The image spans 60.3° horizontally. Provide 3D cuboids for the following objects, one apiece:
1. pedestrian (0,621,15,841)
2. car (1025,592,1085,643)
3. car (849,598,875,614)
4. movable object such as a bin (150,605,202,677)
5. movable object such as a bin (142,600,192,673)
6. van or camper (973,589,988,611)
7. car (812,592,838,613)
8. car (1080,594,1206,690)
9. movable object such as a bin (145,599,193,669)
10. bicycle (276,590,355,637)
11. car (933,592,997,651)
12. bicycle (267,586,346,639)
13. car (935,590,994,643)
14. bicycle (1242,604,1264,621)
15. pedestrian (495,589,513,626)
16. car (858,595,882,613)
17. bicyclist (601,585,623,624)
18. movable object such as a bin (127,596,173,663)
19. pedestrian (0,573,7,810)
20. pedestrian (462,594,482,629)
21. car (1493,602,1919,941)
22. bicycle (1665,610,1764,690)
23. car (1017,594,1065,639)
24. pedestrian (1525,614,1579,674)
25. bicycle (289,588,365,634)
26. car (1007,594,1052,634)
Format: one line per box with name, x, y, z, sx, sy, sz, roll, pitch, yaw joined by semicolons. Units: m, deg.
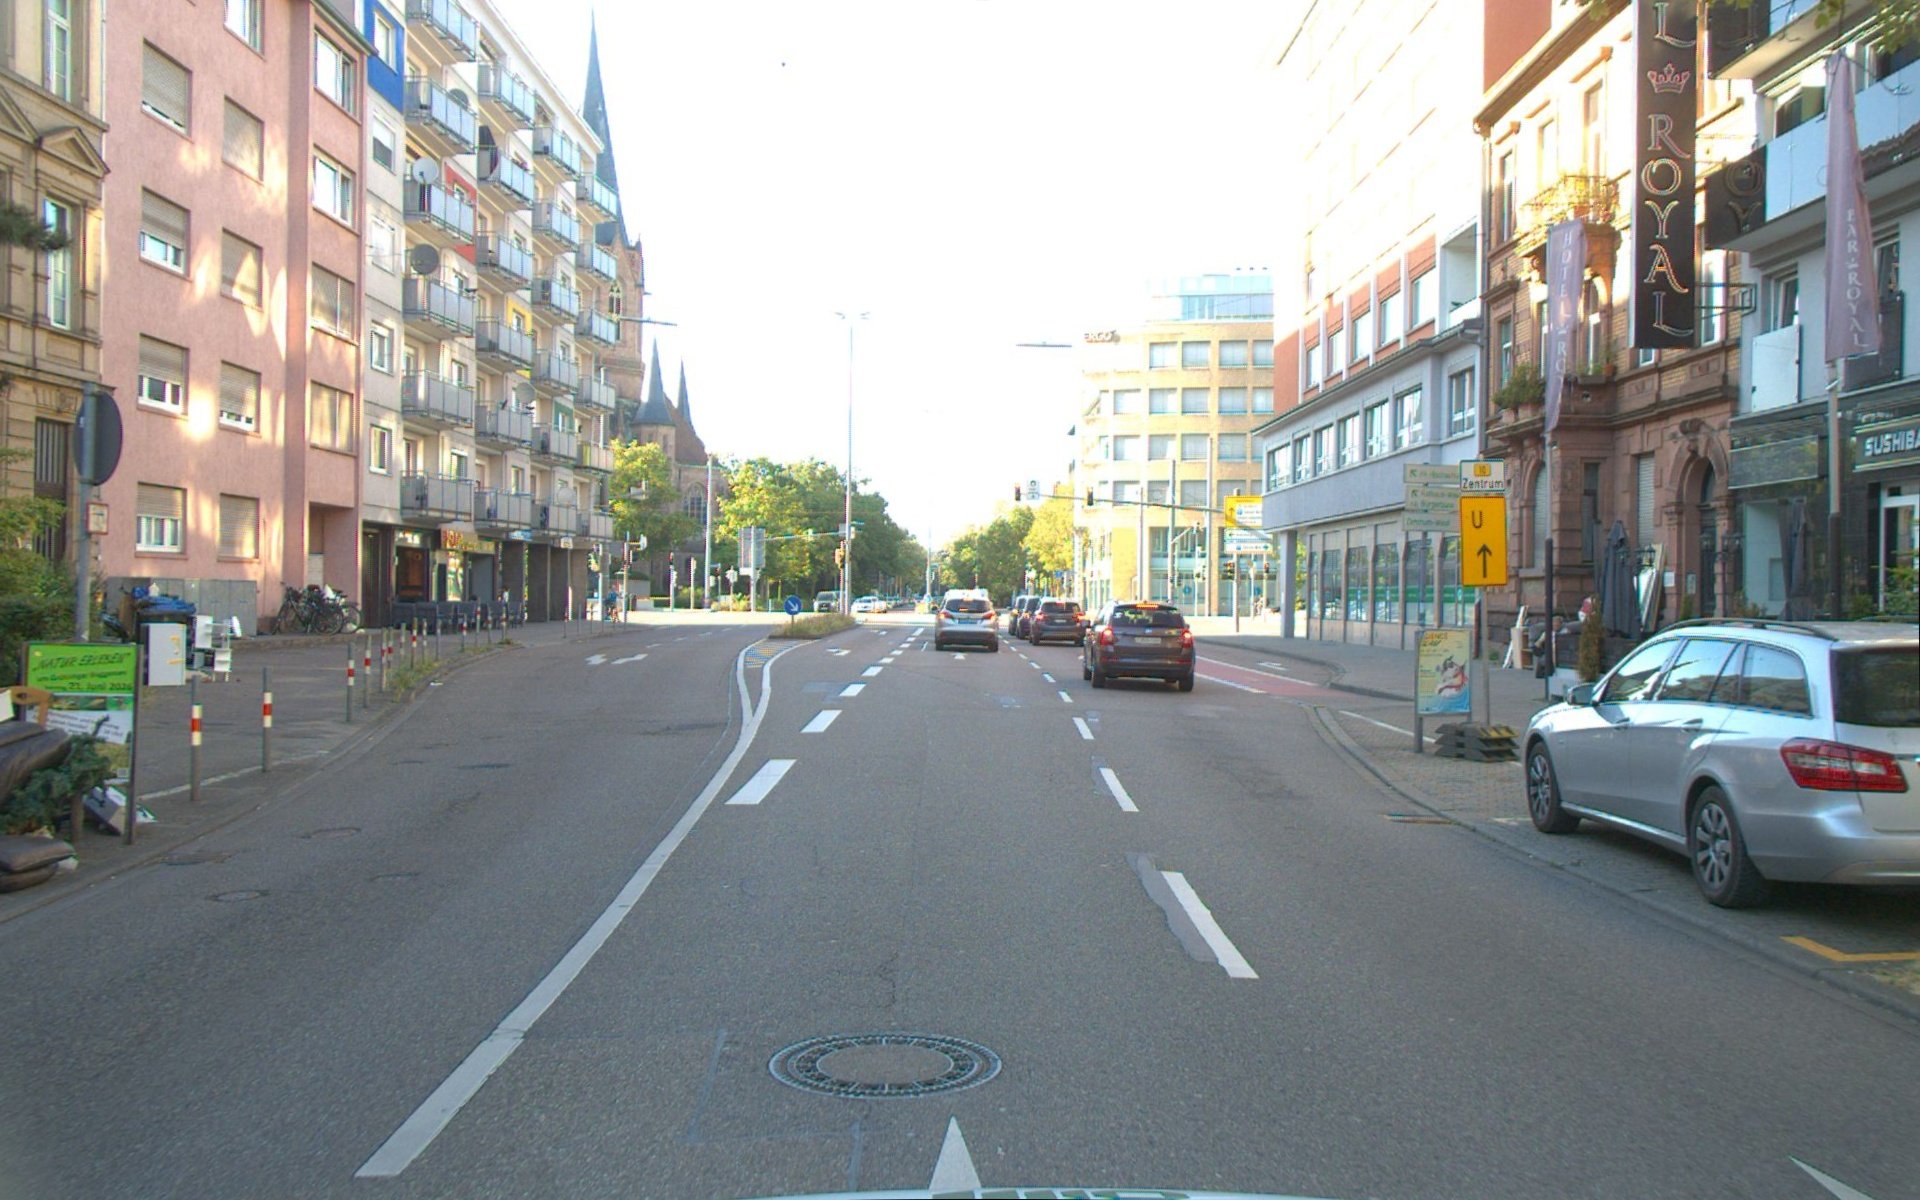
pedestrian;-6.346;0.828;10.360;0.548;1.402;0.480;2;0;-6
car;3.024;0.530;53.089;1.617;1.510;4.239;2;0;0
car;-7.731;0.468;130.951;1.743;1.257;4.000;1;0;0
movable object such as a bin;-12.310;0.639;25.970;0.633;1.087;0.621;3;-1;-31
movable object such as a bin;-12.736;0.585;26.551;0.633;1.130;0.577;3;-1;-31
van or camper;2.622;-0.027;210.566;1.952;2.686;5.351;1;0;1
car;-10.700;0.181;131.472;1.743;1.676;4.000;1;0;0
car;3.100;0.677;28.758;1.673;1.482;4.158;2;0;0
movable object such as a bin;-13.269;0.565;27.740;0.633;1.130;0.577;3;-1;-31
bicycle;-15.296;0.309;39.270;1.638;1.059;0.548;2;-1;-8
car;0.116;0.566;46.502;1.673;1.536;4.308;1;0;0
bicycle;-15.193;0.302;38.466;1.649;1.180;0.492;2;-1;-27
car;0.097;0.500;52.512;1.767;1.596;3.617;0;0;-2
bicycle;21.133;0.907;119.297;1.487;1.193;0.475;0;0;6
pedestrian;-17.181;0.283;62.309;0.473;1.408;0.481;1;0;20
car;-7.490;0.319;137.527;1.743;1.490;4.000;1;0;0
bicyclist;-15.246;0.177;72.514;0.766;1.689;0.900;1;0;-1
movable object such as a bin;-14.060;0.514;28.718;0.633;1.130;0.577;3;-1;-31
pedestrian;-7.062;0.650;11.416;0.593;1.681;0.696;1;0;-7
pedestrian;-17.070;0.389;57.839;0.516;1.224;0.546;0;0;-32
car;4.945;0.809;10.191;1.817;1.539;4.835;-1;0;1
bicycle;11.464;0.749;25.140;1.399;1.130;0.486;-2;1;-18
car;2.868;0.577;59.148;1.459;1.532;3.478;0;0;-2
pedestrian;10.812;0.797;30.236;0.676;1.061;0.945;0;0;2
bicycle;-15.341;0.266;40.099;1.642;1.059;0.547;2;-1;-15
car;2.685;0.533;64.618;1.552;1.472;3.647;2;0;-1
